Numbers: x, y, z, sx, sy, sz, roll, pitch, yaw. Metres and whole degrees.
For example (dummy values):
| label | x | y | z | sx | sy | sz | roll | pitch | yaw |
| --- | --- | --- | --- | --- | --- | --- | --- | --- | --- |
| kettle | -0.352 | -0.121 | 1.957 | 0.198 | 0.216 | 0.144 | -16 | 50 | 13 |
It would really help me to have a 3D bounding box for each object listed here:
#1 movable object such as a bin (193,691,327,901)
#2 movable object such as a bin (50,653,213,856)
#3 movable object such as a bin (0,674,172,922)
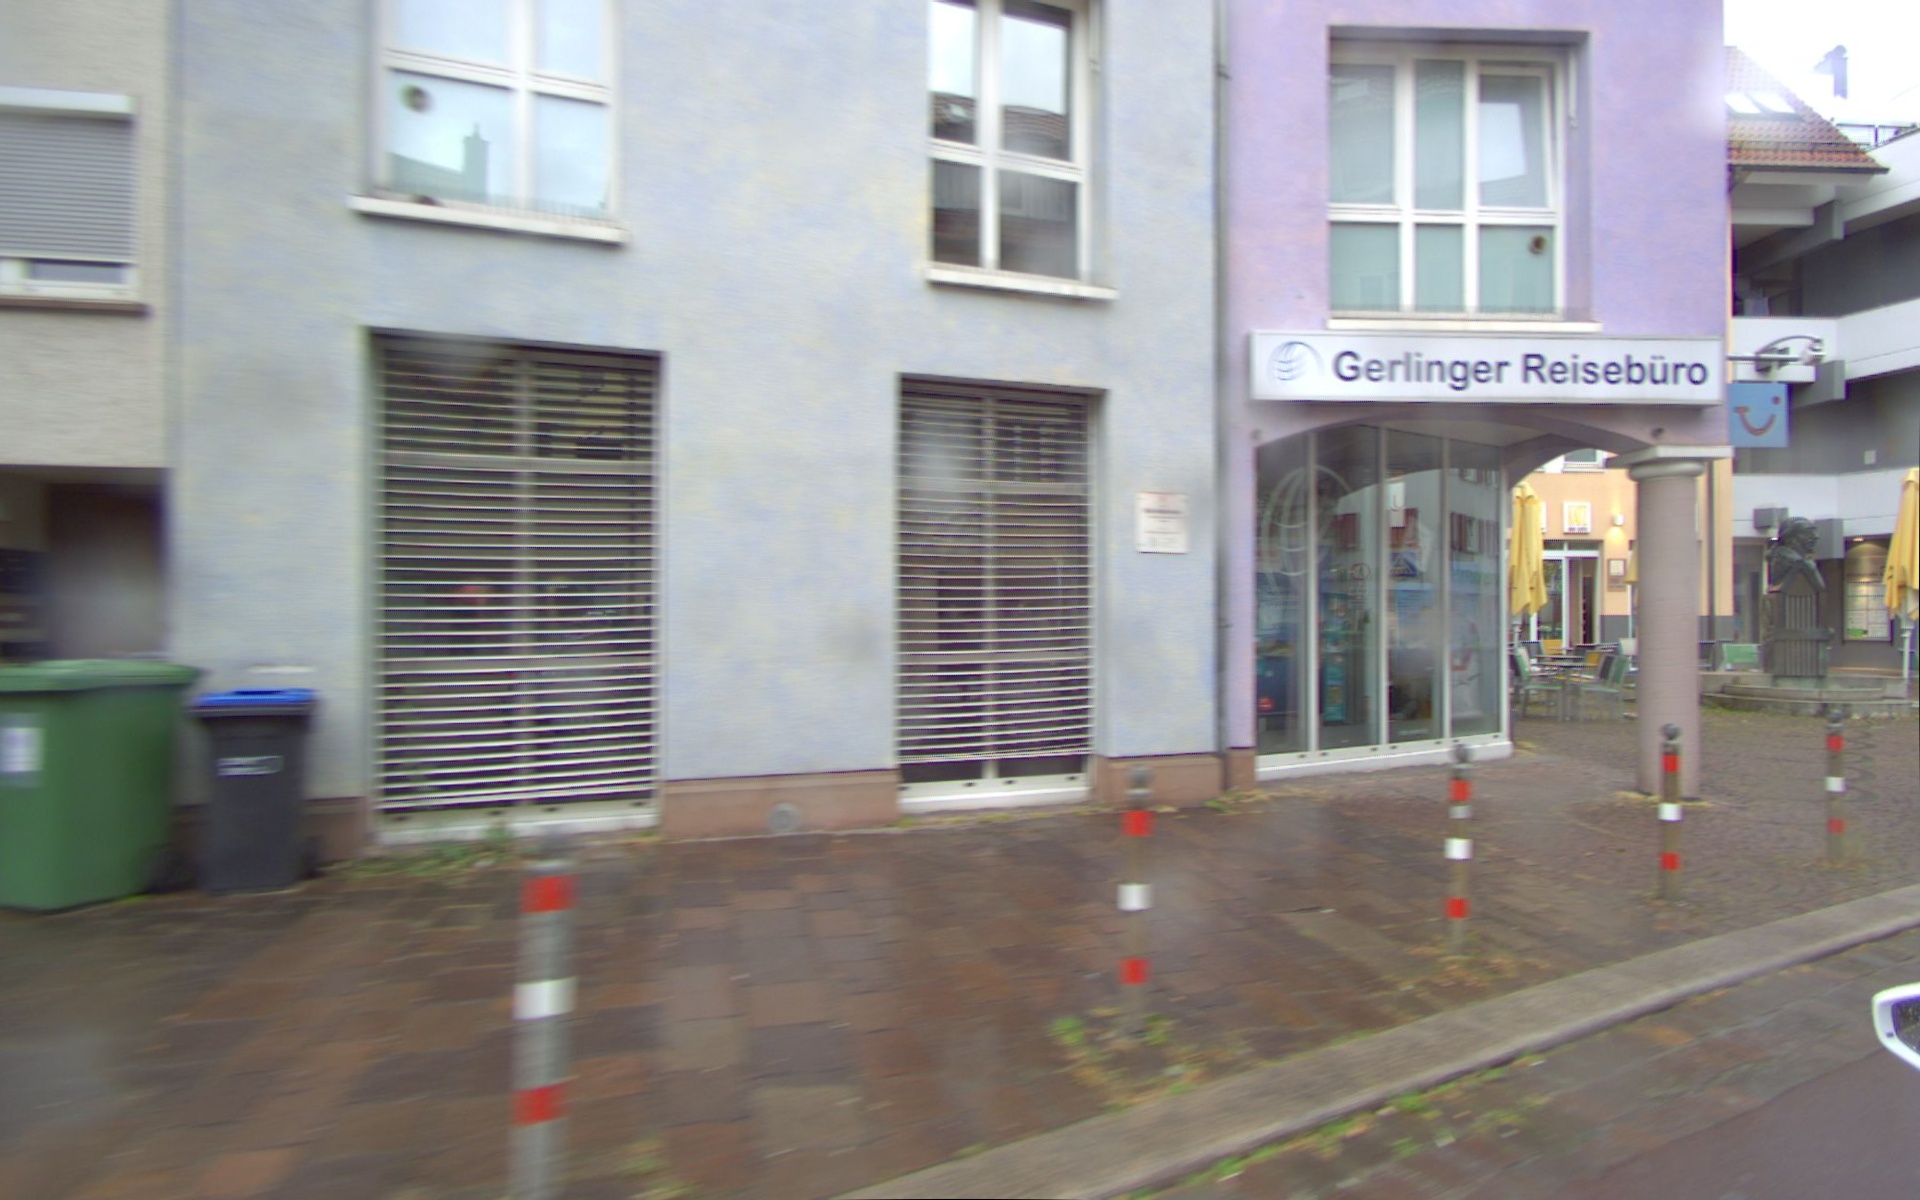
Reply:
| label | x | y | z | sx | sy | sz | roll | pitch | yaw |
| --- | --- | --- | --- | --- | --- | --- | --- | --- | --- |
| movable object such as a bin | -3.346 | 0.910 | 4.832 | 0.444 | 0.907 | 0.457 | 3 | -1 | -29 |
| movable object such as a bin | -4.520 | 0.826 | 5.509 | 0.464 | 1.041 | 0.475 | 2 | -1 | -6 |
| movable object such as a bin | -3.956 | 0.847 | 4.479 | 0.566 | 1.002 | 0.485 | 2 | -1 | -26 |
